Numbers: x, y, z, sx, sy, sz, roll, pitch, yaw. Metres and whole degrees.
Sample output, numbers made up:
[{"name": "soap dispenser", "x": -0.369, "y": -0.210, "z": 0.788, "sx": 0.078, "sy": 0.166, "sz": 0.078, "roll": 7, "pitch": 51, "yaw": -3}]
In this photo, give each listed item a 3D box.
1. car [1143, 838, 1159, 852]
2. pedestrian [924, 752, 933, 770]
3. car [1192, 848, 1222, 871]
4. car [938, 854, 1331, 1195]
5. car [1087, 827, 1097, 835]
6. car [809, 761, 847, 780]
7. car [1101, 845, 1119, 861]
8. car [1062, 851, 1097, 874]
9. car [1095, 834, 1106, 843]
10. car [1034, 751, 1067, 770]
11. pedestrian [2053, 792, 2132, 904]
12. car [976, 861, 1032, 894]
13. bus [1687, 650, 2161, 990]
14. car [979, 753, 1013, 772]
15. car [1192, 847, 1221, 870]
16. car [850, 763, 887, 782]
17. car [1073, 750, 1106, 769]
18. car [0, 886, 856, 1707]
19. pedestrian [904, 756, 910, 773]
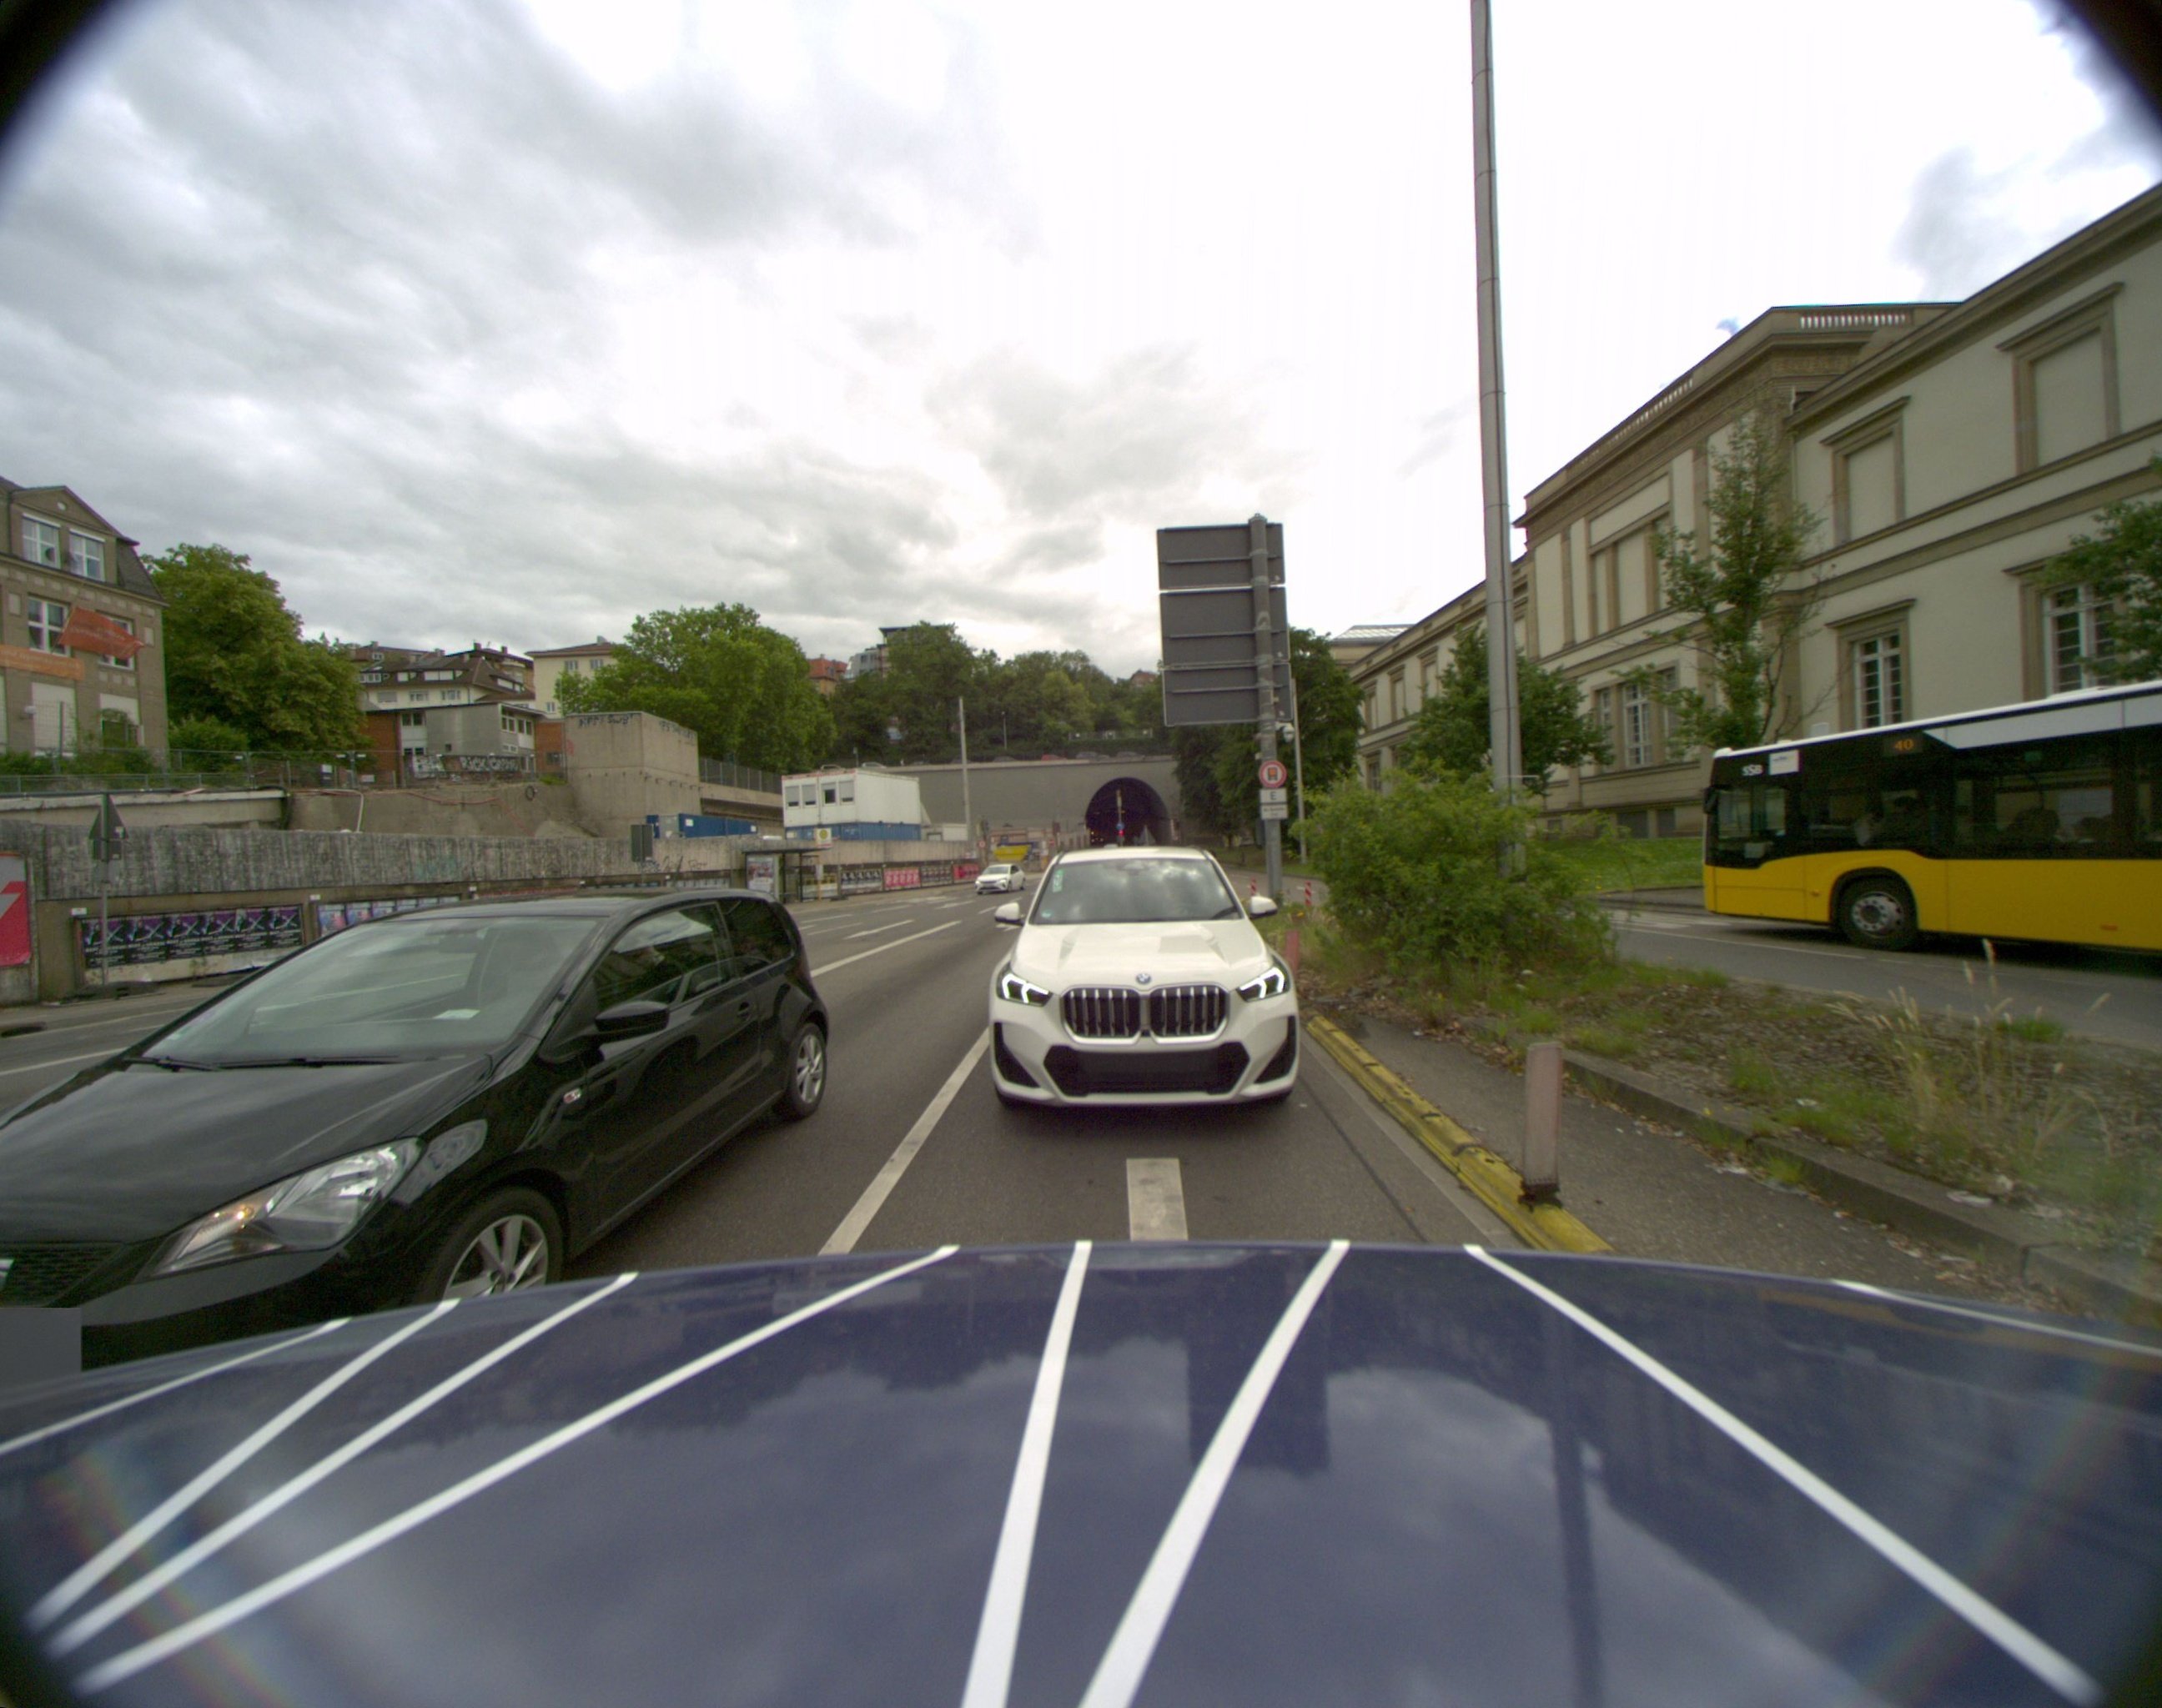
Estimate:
[{"name": "car", "x": 8.276, "y": -1.045, "z": 89.850, "sx": 1.667, "sy": 1.582, "sz": 3.882, "roll": -1, "pitch": 0, "yaw": 2}, {"name": "pedestrian", "x": -18.232, "y": -11.163, "z": 90.793, "sx": 0.851, "sy": 2.002, "sz": 0.905, "roll": -3, "pitch": 1, "yaw": -3}, {"name": "car", "x": 9.214, "y": 0.367, "z": 55.663, "sx": 1.667, "sy": 1.582, "sz": 3.882, "roll": -1, "pitch": 0, "yaw": 2}, {"name": "car", "x": 0.323, "y": 0.845, "z": 5.660, "sx": 1.848, "sy": 1.581, "sz": 3.882, "roll": -3, "pitch": 0, "yaw": 2}, {"name": "car", "x": 2.207, "y": -4.722, "z": 154.069, "sx": 1.730, "sy": 1.435, "sz": 4.001, "roll": -3, "pitch": 0, "yaw": 5}, {"name": "car", "x": -31.091, "y": -10.219, "z": 93.311, "sx": 3.998, "sy": 2.002, "sz": 1.999, "roll": -2, "pitch": 1, "yaw": -5}, {"name": "car", "x": 3.011, "y": -0.114, "z": 79.427, "sx": 1.704, "sy": 1.550, "sz": 4.551, "roll": -3, "pitch": 0, "yaw": 1}, {"name": "car", "x": -0.059, "y": 0.622, "z": 59.114, "sx": 1.825, "sy": 1.562, "sz": 4.657, "roll": -3, "pitch": 0, "yaw": 11}, {"name": "car", "x": 3.024, "y": -2.416, "z": 118.140, "sx": 1.728, "sy": 1.310, "sz": 4.000, "roll": -3, "pitch": 0, "yaw": 1}, {"name": "car", "x": -3.805, "y": -11.608, "z": 94.410, "sx": 3.998, "sy": 2.002, "sz": 1.999, "roll": -2, "pitch": 1, "yaw": -2}, {"name": "pedestrian", "x": 15.637, "y": -0.088, "z": 11.756, "sx": 0.586, "sy": 1.685, "sz": 0.459, "roll": -2, "pitch": 1, "yaw": 35}, {"name": "car", "x": -3.951, "y": 1.177, "z": 39.509, "sx": 1.662, "sy": 1.471, "sz": 4.003, "roll": -3, "pitch": 0, "yaw": 12}, {"name": "bus", "x": 11.265, "y": -0.371, "z": 7.399, "sx": 2.853, "sy": 3.096, "sz": 9.748, "roll": -3, "pitch": 0, "yaw": 0}, {"name": "car", "x": -10.512, "y": -11.359, "z": 94.014, "sx": 3.998, "sy": 2.002, "sz": 1.999, "roll": -2, "pitch": 1, "yaw": -2}, {"name": "car", "x": 9.101, "y": 0.325, "z": 55.251, "sx": 1.539, "sy": 1.542, "sz": 2.823, "roll": -2, "pitch": 0, "yaw": -2}, {"name": "car", "x": -26.042, "y": -10.031, "z": 93.376, "sx": 3.998, "sy": 2.002, "sz": 1.999, "roll": -2, "pitch": 1, "yaw": -5}, {"name": "car", "x": 1.073, "y": -11.787, "z": 94.495, "sx": 3.998, "sy": 2.002, "sz": 1.999, "roll": -2, "pitch": 1, "yaw": -2}, {"name": "car", "x": -2.517, "y": 1.016, "z": 3.415, "sx": 1.667, "sy": 1.487, "sz": 3.882, "roll": -3, "pitch": 0, "yaw": 2}, {"name": "pedestrian", "x": -21.539, "y": -11.090, "z": 93.877, "sx": 0.581, "sy": 2.002, "sz": 0.577, "roll": -2, "pitch": 1, "yaw": -3}]
